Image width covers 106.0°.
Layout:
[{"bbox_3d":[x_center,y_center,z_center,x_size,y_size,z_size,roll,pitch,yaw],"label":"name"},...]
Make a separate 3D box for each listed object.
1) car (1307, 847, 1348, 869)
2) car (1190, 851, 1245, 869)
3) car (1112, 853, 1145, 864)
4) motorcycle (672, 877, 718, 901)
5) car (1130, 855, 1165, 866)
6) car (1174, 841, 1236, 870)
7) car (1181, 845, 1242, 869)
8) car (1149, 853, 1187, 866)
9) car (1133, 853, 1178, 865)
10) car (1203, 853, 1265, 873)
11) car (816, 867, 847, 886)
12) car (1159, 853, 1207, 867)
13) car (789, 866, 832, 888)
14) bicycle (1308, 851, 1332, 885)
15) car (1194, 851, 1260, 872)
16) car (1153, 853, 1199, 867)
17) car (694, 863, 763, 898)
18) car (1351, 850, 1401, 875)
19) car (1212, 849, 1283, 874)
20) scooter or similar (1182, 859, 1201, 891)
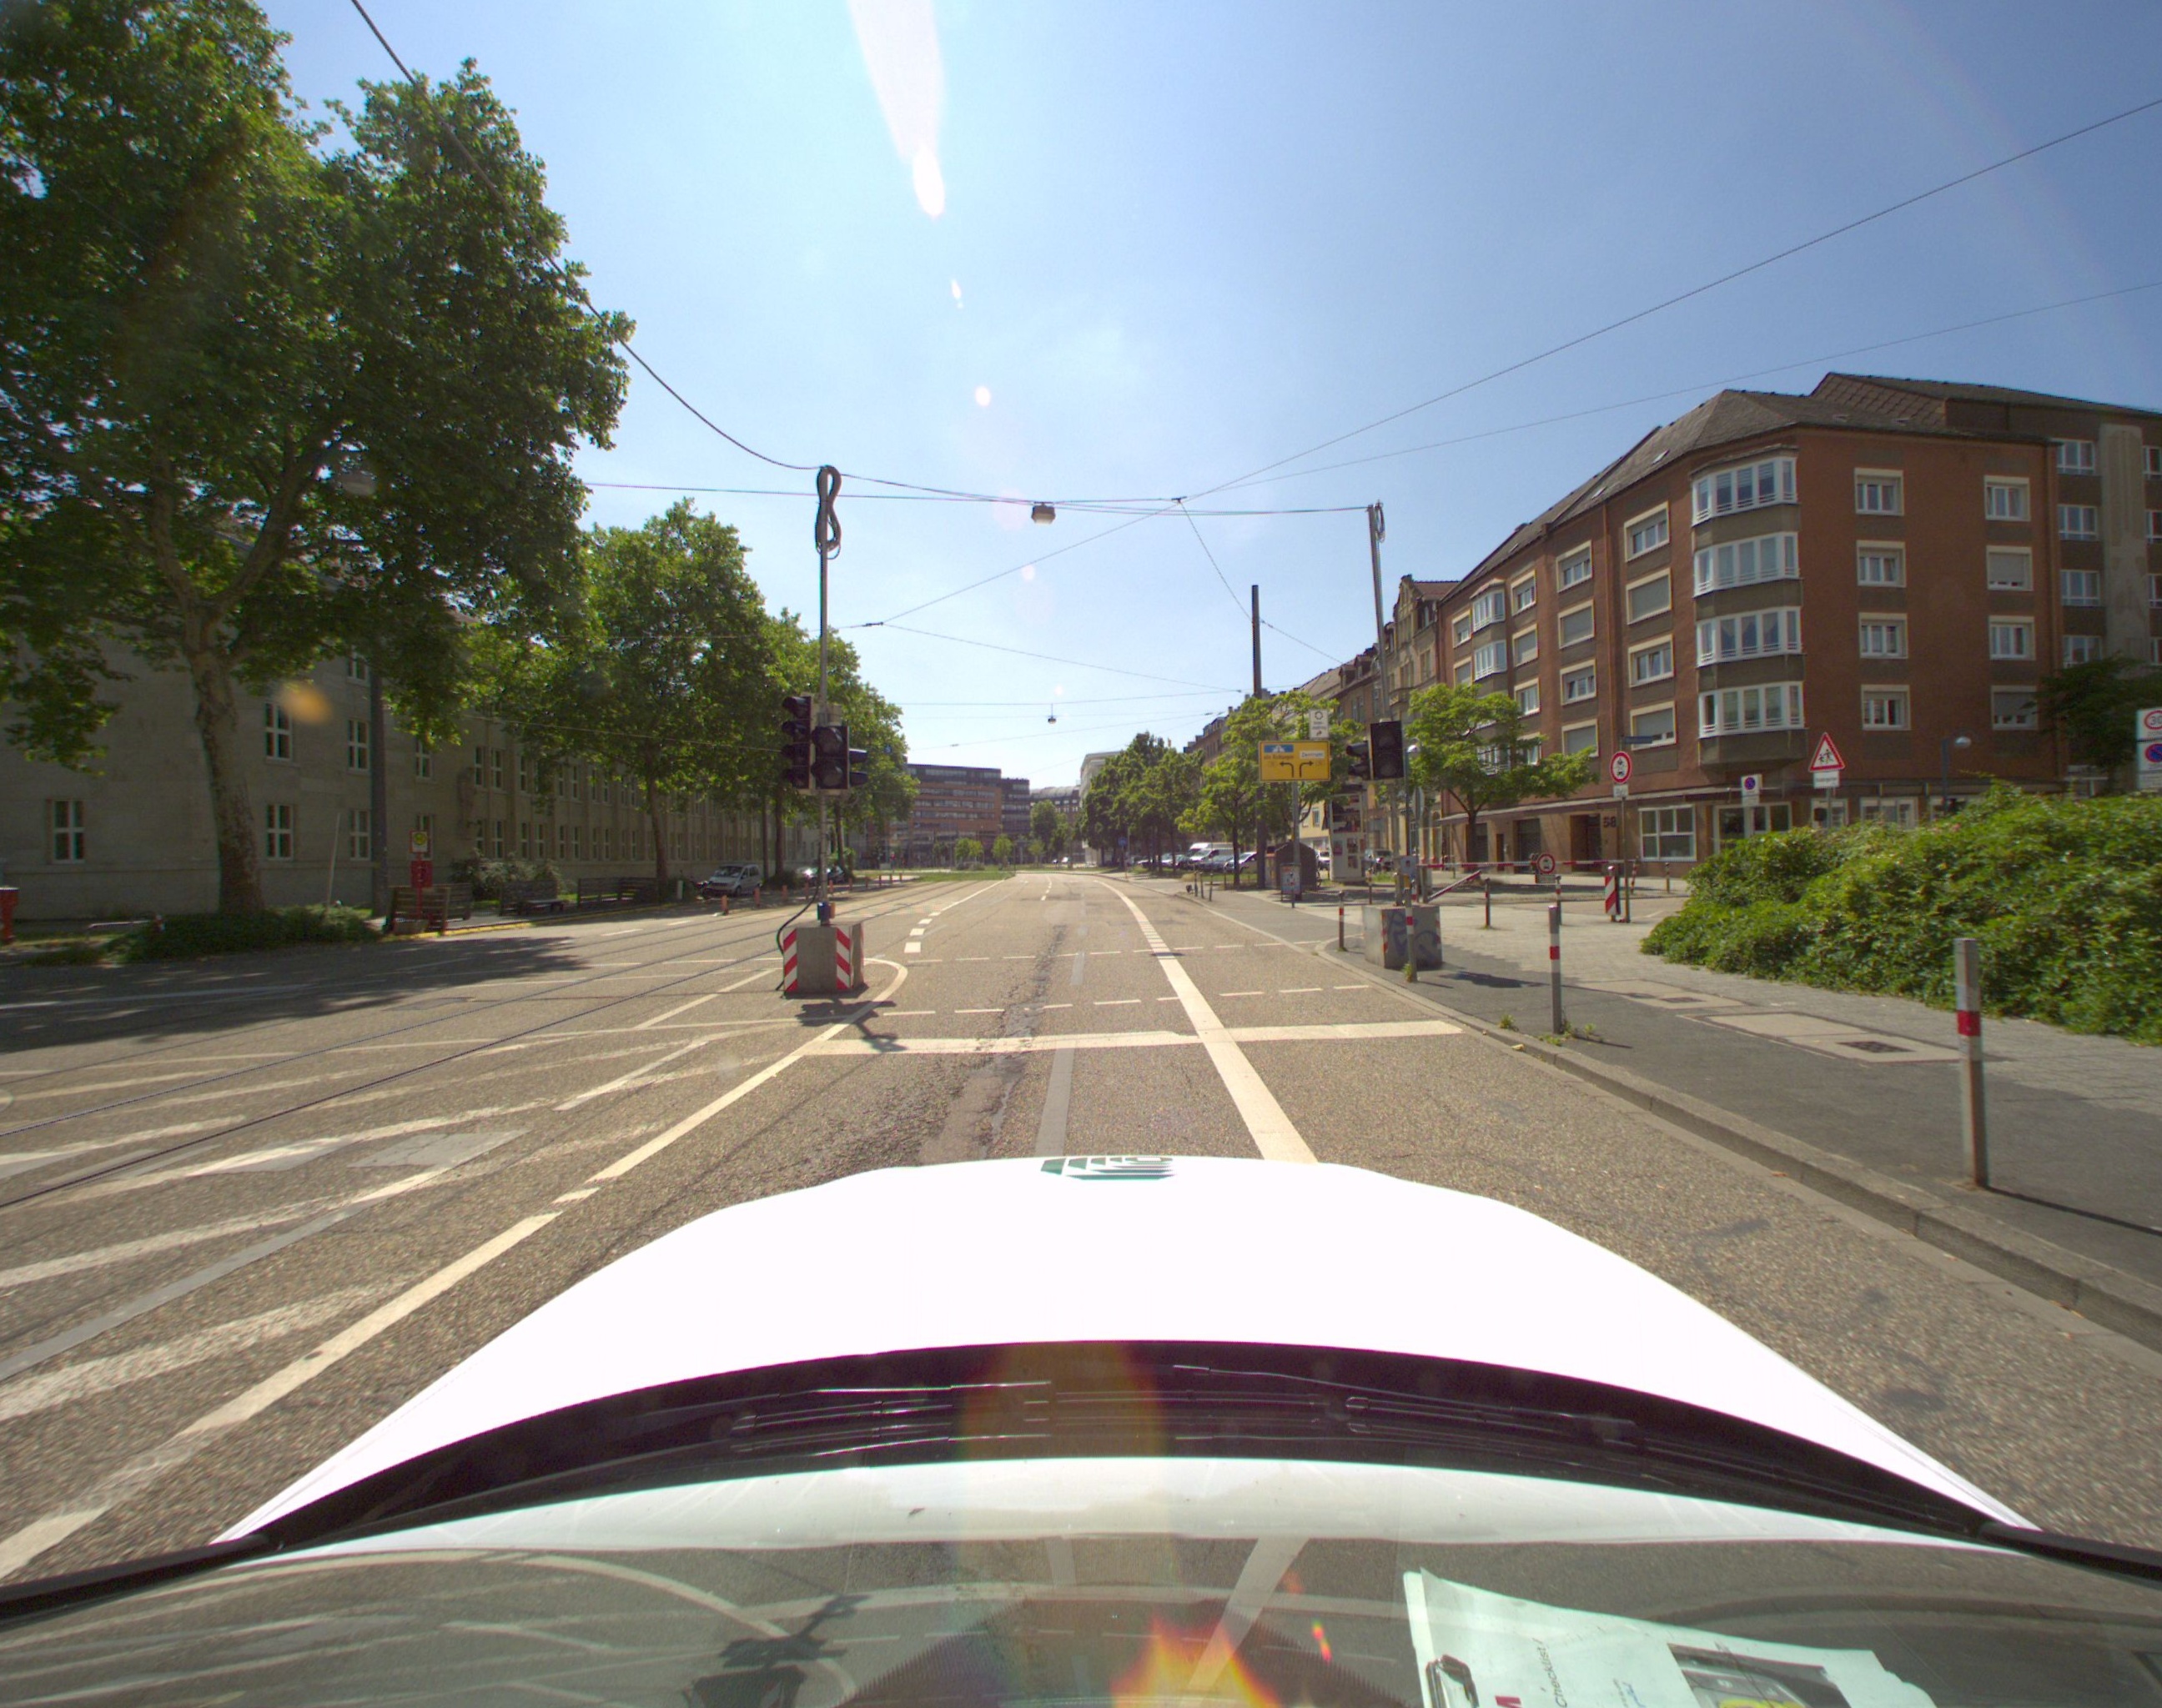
[{"bbox_3d":[19.637,0.346,64.908,1.816,1.684,3.994,0,-1,-4],"label":"car"},{"bbox_3d":[10.759,0.473,64.260,4.006,1.387,1.809,0,-1,-25],"label":"car"},{"bbox_3d":[7.298,0.687,125.787,4.889,1.601,1.818,0,-1,-31],"label":"car"},{"bbox_3d":[-18.894,1.723,39.844,1.879,1.068,0.719,6,-4,-34],"label":"motorcycle"},{"bbox_3d":[8.279,0.854,101.566,4.006,1.313,1.956,0,-1,-25],"label":"car"},{"bbox_3d":[10.903,0.155,71.257,5.580,2.460,2.212,0,-1,-40],"label":"car"},{"bbox_3d":[10.843,0.252,67.742,4.865,1.973,2.055,0,-1,-32],"label":"car"},{"bbox_3d":[9.529,0.612,88.891,4.017,1.400,1.694,0,-1,-36],"label":"car"},{"bbox_3d":[8.632,0.572,94.100,4.795,1.313,2.132,0,-1,-25],"label":"car"},{"bbox_3d":[10.865,0.638,57.815,4.006,1.399,1.809,0,-1,-25],"label":"car"},{"bbox_3d":[-19.714,1.737,64.535,1.586,1.424,4.313,0,-1,-7],"label":"car"},{"bbox_3d":[9.922,0.599,78.971,4.451,1.338,1.951,0,-1,-36],"label":"car"},{"bbox_3d":[-19.517,1.665,58.942,1.758,1.483,4.319,0,-1,-2],"label":"car"},{"bbox_3d":[9.346,0.536,31.908,0.512,1.290,1.547,0,-1,2],"label":"bicycle"},{"bbox_3d":[10.929,0.528,61.001,4.643,1.497,1.948,0,-1,-27],"label":"car"},{"bbox_3d":[9.672,0.588,82.425,4.716,1.427,1.949,0,-1,-40],"label":"car"},{"bbox_3d":[-19.214,1.417,44.612,1.988,1.811,4.298,0,-1,-1],"label":"car"},{"bbox_3d":[19.527,0.572,54.096,1.985,1.600,4.604,0,-1,4],"label":"car"},{"bbox_3d":[11.239,0.470,54.902,4.420,1.632,1.983,0,-1,-25],"label":"car"},{"bbox_3d":[4.465,0.830,32.774,0.387,1.214,1.186,-5,0,21],"label":"scooter or similar"}]
